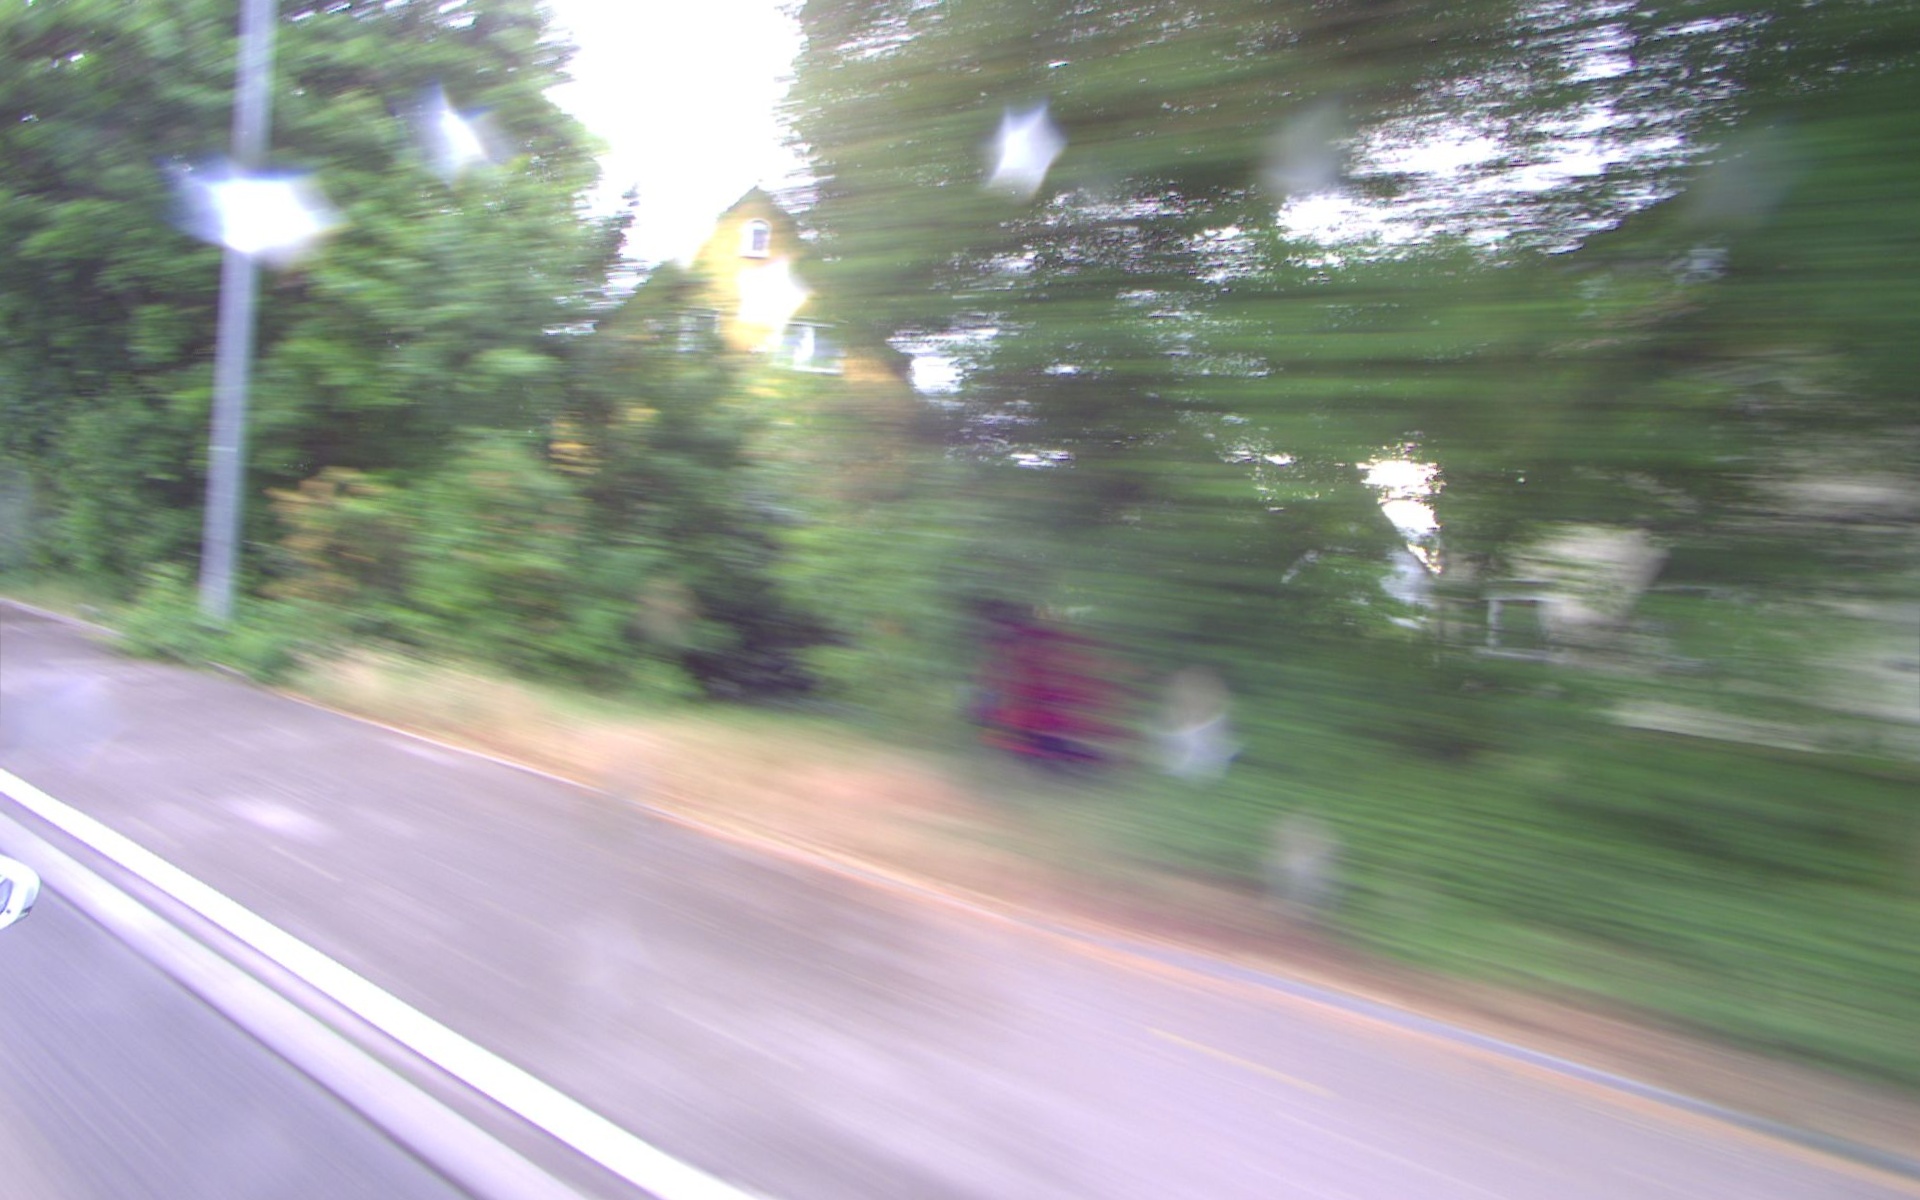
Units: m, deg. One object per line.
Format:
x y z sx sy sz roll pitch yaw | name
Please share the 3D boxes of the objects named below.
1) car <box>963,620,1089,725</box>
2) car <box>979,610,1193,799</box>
0.885 0.931 13.908 1.468 1.123 2.568 6 0 3 | car
1.123 0.890 10.017 1.662 1.401 3.151 6 0 3 | car
